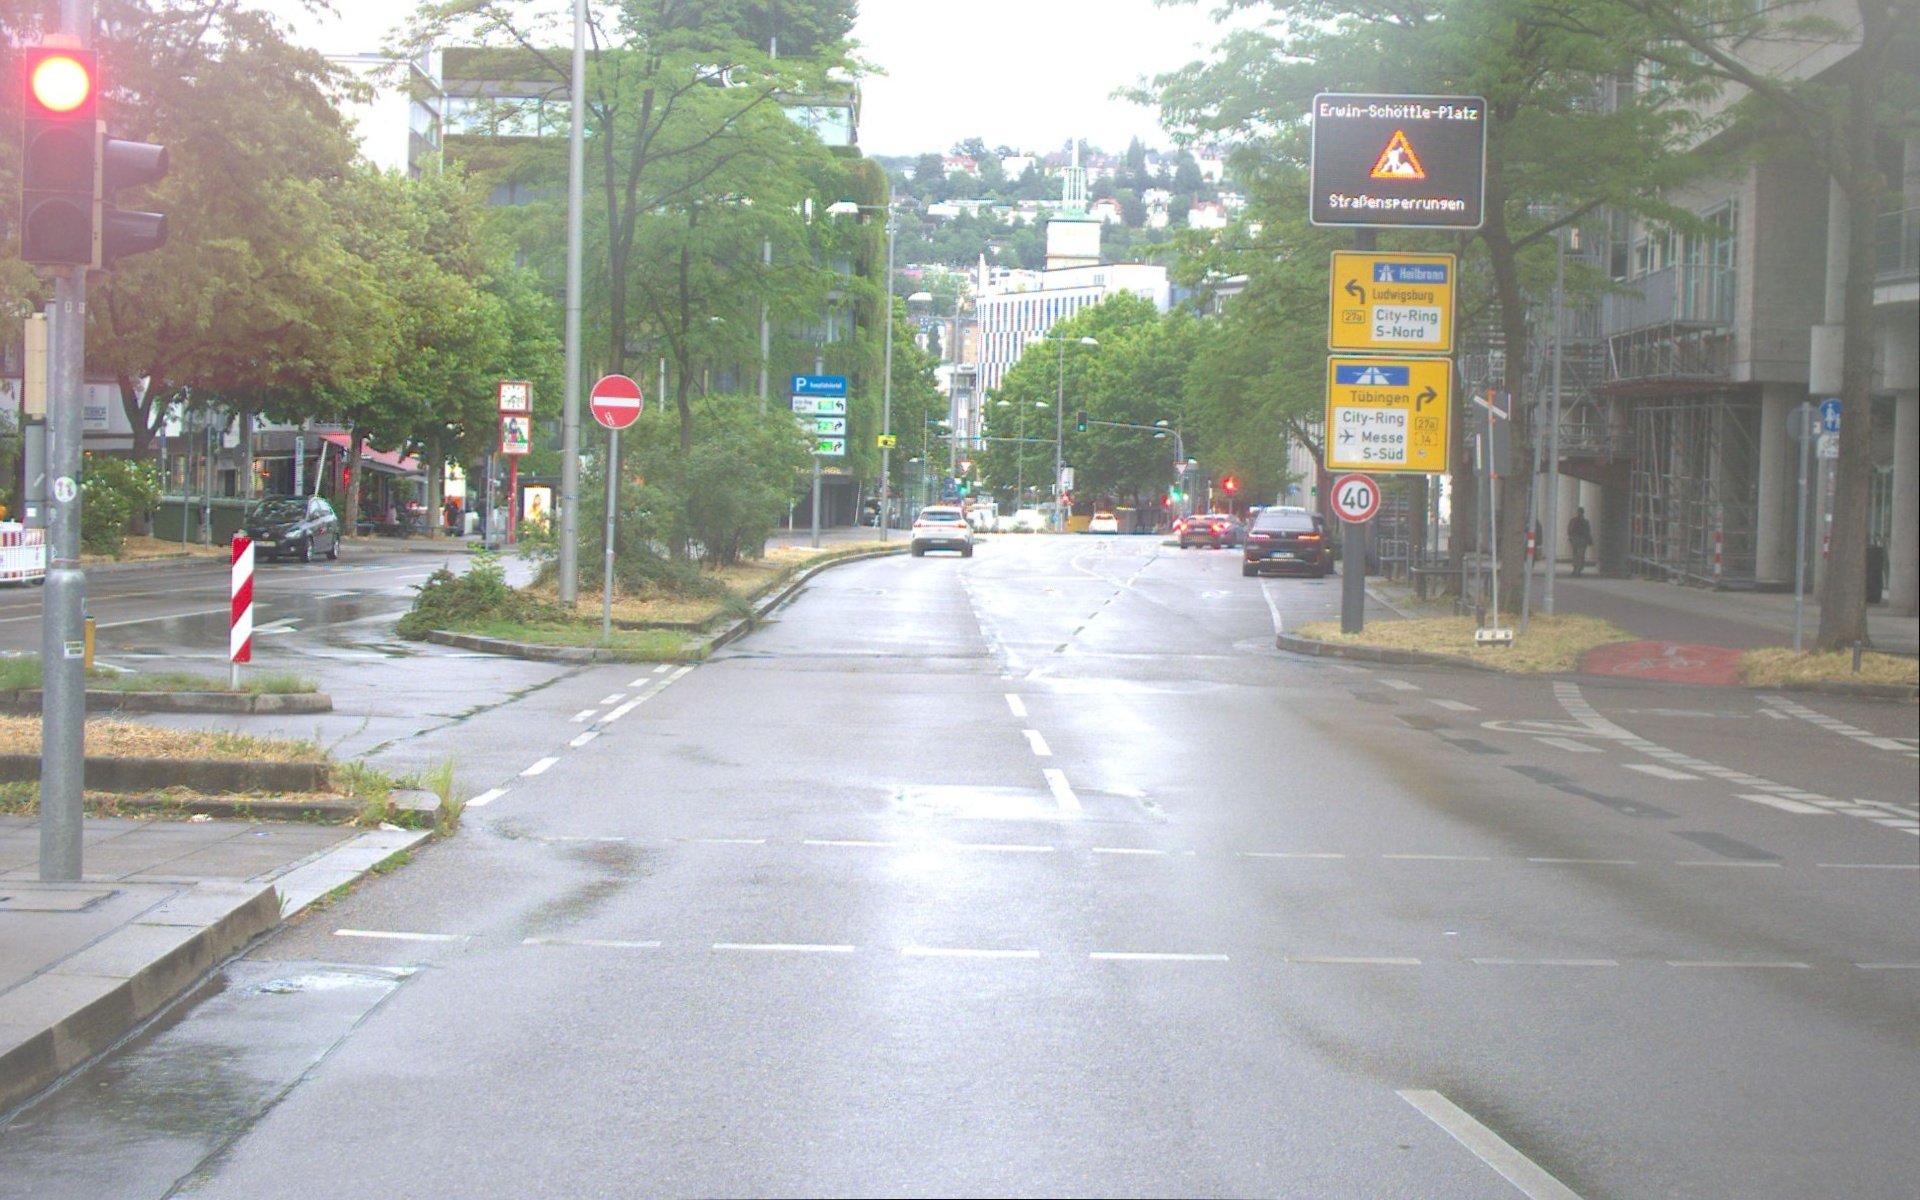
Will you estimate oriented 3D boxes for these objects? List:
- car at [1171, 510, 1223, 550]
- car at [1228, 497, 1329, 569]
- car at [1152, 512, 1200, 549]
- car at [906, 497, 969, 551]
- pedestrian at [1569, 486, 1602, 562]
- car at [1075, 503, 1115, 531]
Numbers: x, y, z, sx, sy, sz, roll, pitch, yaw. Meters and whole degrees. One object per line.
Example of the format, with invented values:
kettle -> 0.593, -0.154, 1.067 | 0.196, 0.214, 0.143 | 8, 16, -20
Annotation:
car -> 10.714, -3.148, 155.649 | 1.993, 1.718, 4.000 | 1, 0, -1
car -> 7.759, -1.633, 83.417 | 2.339, 1.685, 3.999 | 1, 2, 6
car -> 10.456, -3.370, 166.794 | 1.993, 1.730, 4.000 | 1, 0, -1
car -> -0.742, -2.448, 110.730 | 1.828, 1.634, 4.301 | 2, 1, -2
pedestrian -> 15.815, -1.923, 86.927 | 0.775, 1.914, 0.702 | 1, 0, 10
car -> 8.827, -5.419, 225.171 | 1.993, 1.752, 4.001 | 2, 1, -6
